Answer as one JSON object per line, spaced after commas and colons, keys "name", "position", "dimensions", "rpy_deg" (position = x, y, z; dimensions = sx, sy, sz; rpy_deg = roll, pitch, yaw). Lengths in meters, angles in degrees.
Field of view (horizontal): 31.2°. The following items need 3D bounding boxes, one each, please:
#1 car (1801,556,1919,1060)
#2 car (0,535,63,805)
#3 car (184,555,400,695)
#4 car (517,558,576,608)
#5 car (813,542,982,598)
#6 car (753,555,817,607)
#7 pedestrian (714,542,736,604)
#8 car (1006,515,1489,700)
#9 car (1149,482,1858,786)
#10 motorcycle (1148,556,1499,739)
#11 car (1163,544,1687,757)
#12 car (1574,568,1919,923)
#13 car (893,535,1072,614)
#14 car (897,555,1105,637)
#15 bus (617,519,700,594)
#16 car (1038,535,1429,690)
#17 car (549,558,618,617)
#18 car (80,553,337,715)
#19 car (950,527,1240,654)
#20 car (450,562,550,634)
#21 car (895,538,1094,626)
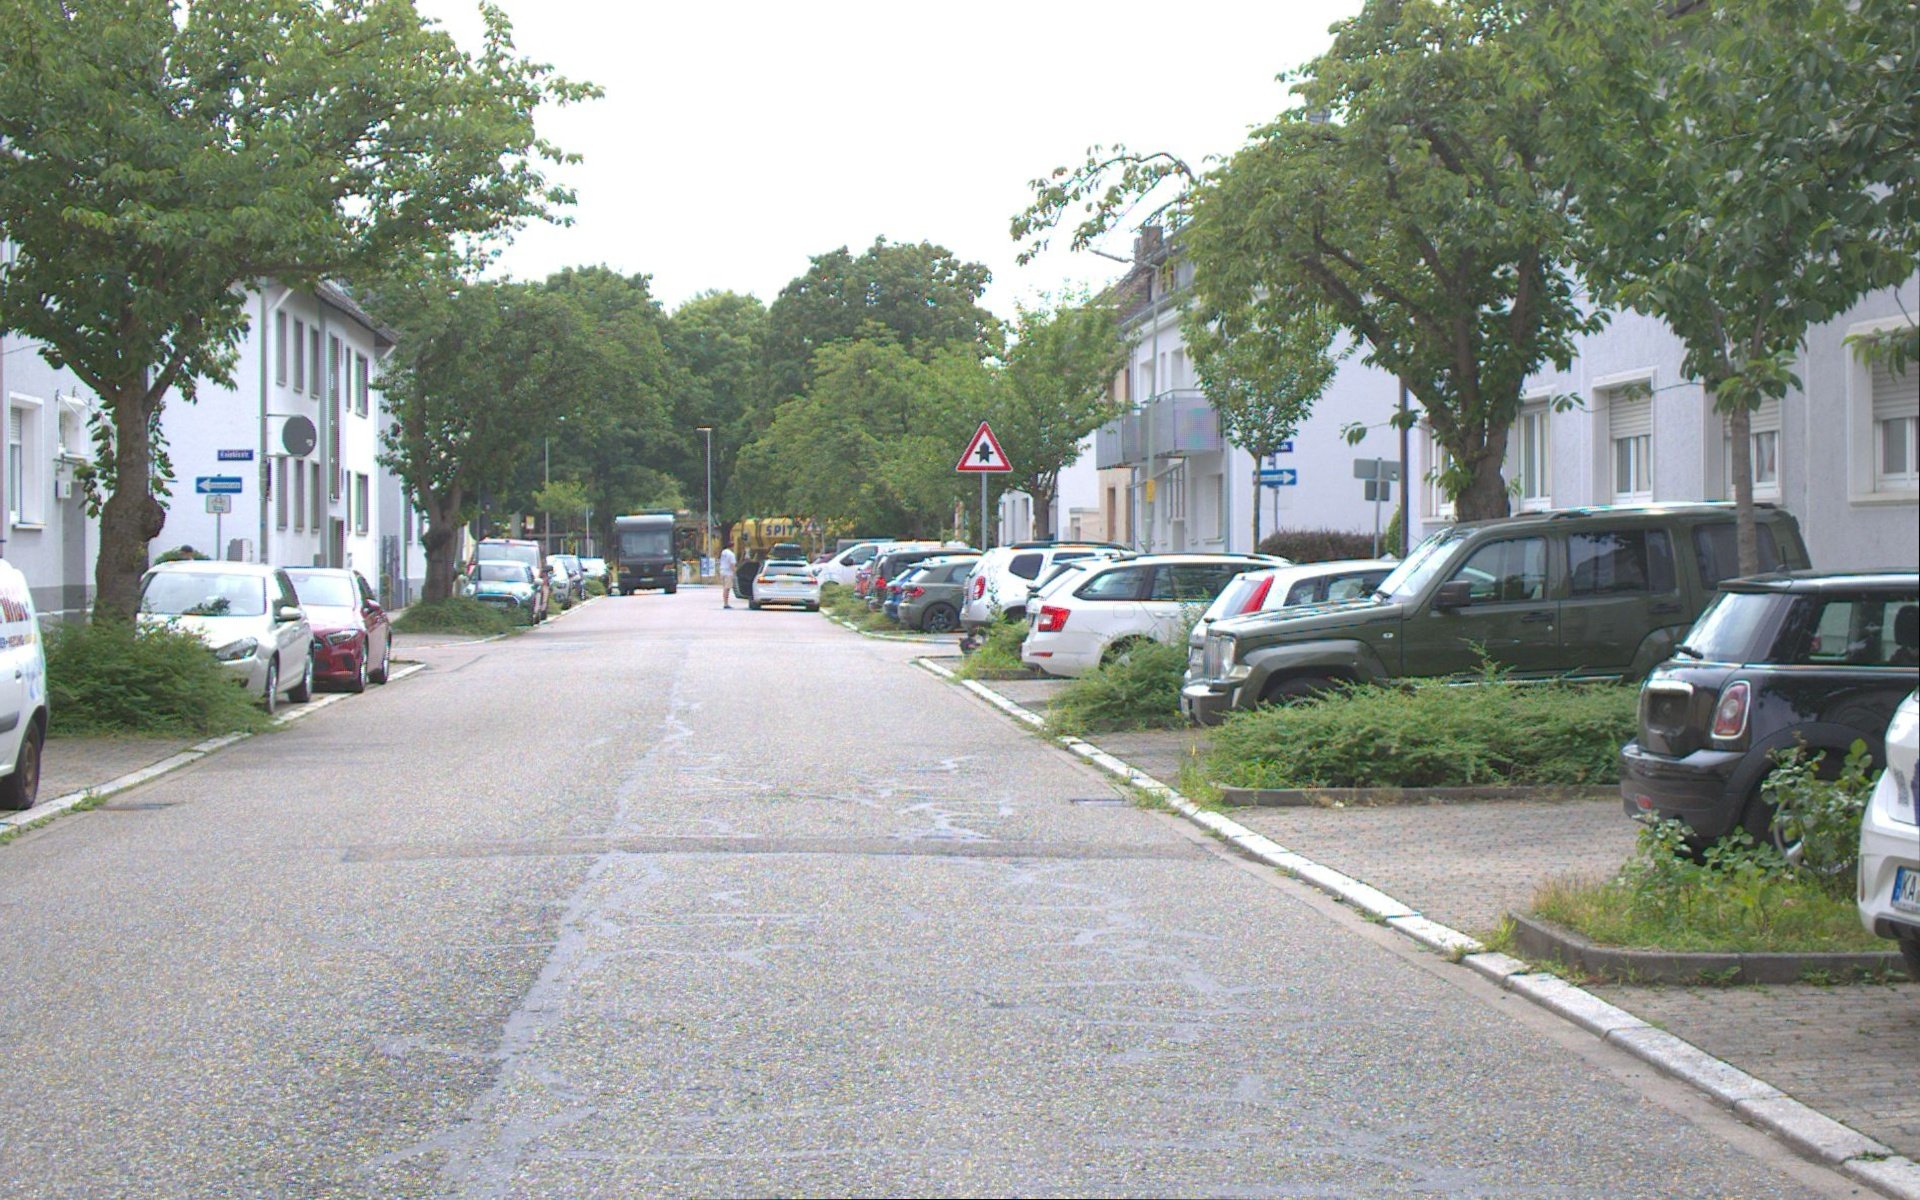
{"name": "car", "position": [4.875, 0.561, 10.663], "dimensions": [3.986, 1.525, 1.768], "rpy_deg": [-2, 1, -6]}
{"name": "car", "position": [-6.560, 0.449, 19.615], "dimensions": [1.918, 1.576, 4.383], "rpy_deg": [-2, 1, -3]}
{"name": "car", "position": [-7.748, 0.254, 40.233], "dimensions": [1.877, 1.481, 4.513], "rpy_deg": [-2, 1, -4]}
{"name": "car", "position": [-12.203, -0.512, 101.652], "dimensions": [1.651, 1.372, 3.722], "rpy_deg": [-2, 1, -6]}
{"name": "car", "position": [-1.933, -0.906, 104.701], "dimensions": [4.974, 1.513, 1.769], "rpy_deg": [-2, 1, -5]}
{"name": "car", "position": [-4.886, -0.538, 96.133], "dimensions": [1.687, 1.349, 3.827], "rpy_deg": [-2, 1, -3]}
{"name": "pedestrian", "position": [-6.502, -0.750, 95.296], "dimensions": [0.522, 1.698, 0.444], "rpy_deg": [-2, 1, 0]}
{"name": "car", "position": [2.860, 0.062, 34.902], "dimensions": [4.614, 1.658, 1.893], "rpy_deg": [-2, 1, -3]}
{"name": "car", "position": [3.669, 0.216, 23.759], "dimensions": [4.525, 1.851, 1.793], "rpy_deg": [-2, 1, -1]}
{"name": "motorcycle", "position": [2.972, 0.374, 28.271], "dimensions": [2.700, 1.459, 1.032], "rpy_deg": [0, 1, -7]}
{"name": "car", "position": [3.542, 0.364, 26.543], "dimensions": [3.624, 1.449, 1.773], "rpy_deg": [-2, 1, -8]}
{"name": "car", "position": [4.803, 0.577, 15.699], "dimensions": [3.542, 1.448, 1.809], "rpy_deg": [-2, 1, -4]}
{"name": "car", "position": [0.473, -0.554, 74.879], "dimensions": [3.747, 1.559, 1.773], "rpy_deg": [-2, 1, -3]}
{"name": "car", "position": [0.749, -0.087, 64.432], "dimensions": [3.747, 1.361, 1.773], "rpy_deg": [-2, 1, -3]}
{"name": "bus", "position": [-11.846, -1.724, 135.810], "dimensions": [3.003, 2.752, 8.925], "rpy_deg": [-2, 1, -4]}
{"name": "car", "position": [2.941, 0.124, 37.483], "dimensions": [3.986, 1.503, 1.713], "rpy_deg": [-2, 1, -4]}
{"name": "car", "position": [-9.976, -0.345, 91.217], "dimensions": [1.651, 1.456, 3.553], "rpy_deg": [-2, 1, -4]}
{"name": "car", "position": [-7.554, 0.303, 34.917], "dimensions": [1.771, 1.387, 4.275], "rpy_deg": [5, 0, -3]}
{"name": "car", "position": [1.882, -0.149, 48.883], "dimensions": [3.923, 1.627, 1.868], "rpy_deg": [-2, 1, -3]}
{"name": "car", "position": [-10.471, -0.064, 78.462], "dimensions": [1.763, 1.549, 3.731], "rpy_deg": [-2, 1, 0]}
{"name": "car", "position": [0.657, -0.358, 67.465], "dimensions": [3.747, 1.559, 1.773], "rpy_deg": [-2, 1, -3]}
